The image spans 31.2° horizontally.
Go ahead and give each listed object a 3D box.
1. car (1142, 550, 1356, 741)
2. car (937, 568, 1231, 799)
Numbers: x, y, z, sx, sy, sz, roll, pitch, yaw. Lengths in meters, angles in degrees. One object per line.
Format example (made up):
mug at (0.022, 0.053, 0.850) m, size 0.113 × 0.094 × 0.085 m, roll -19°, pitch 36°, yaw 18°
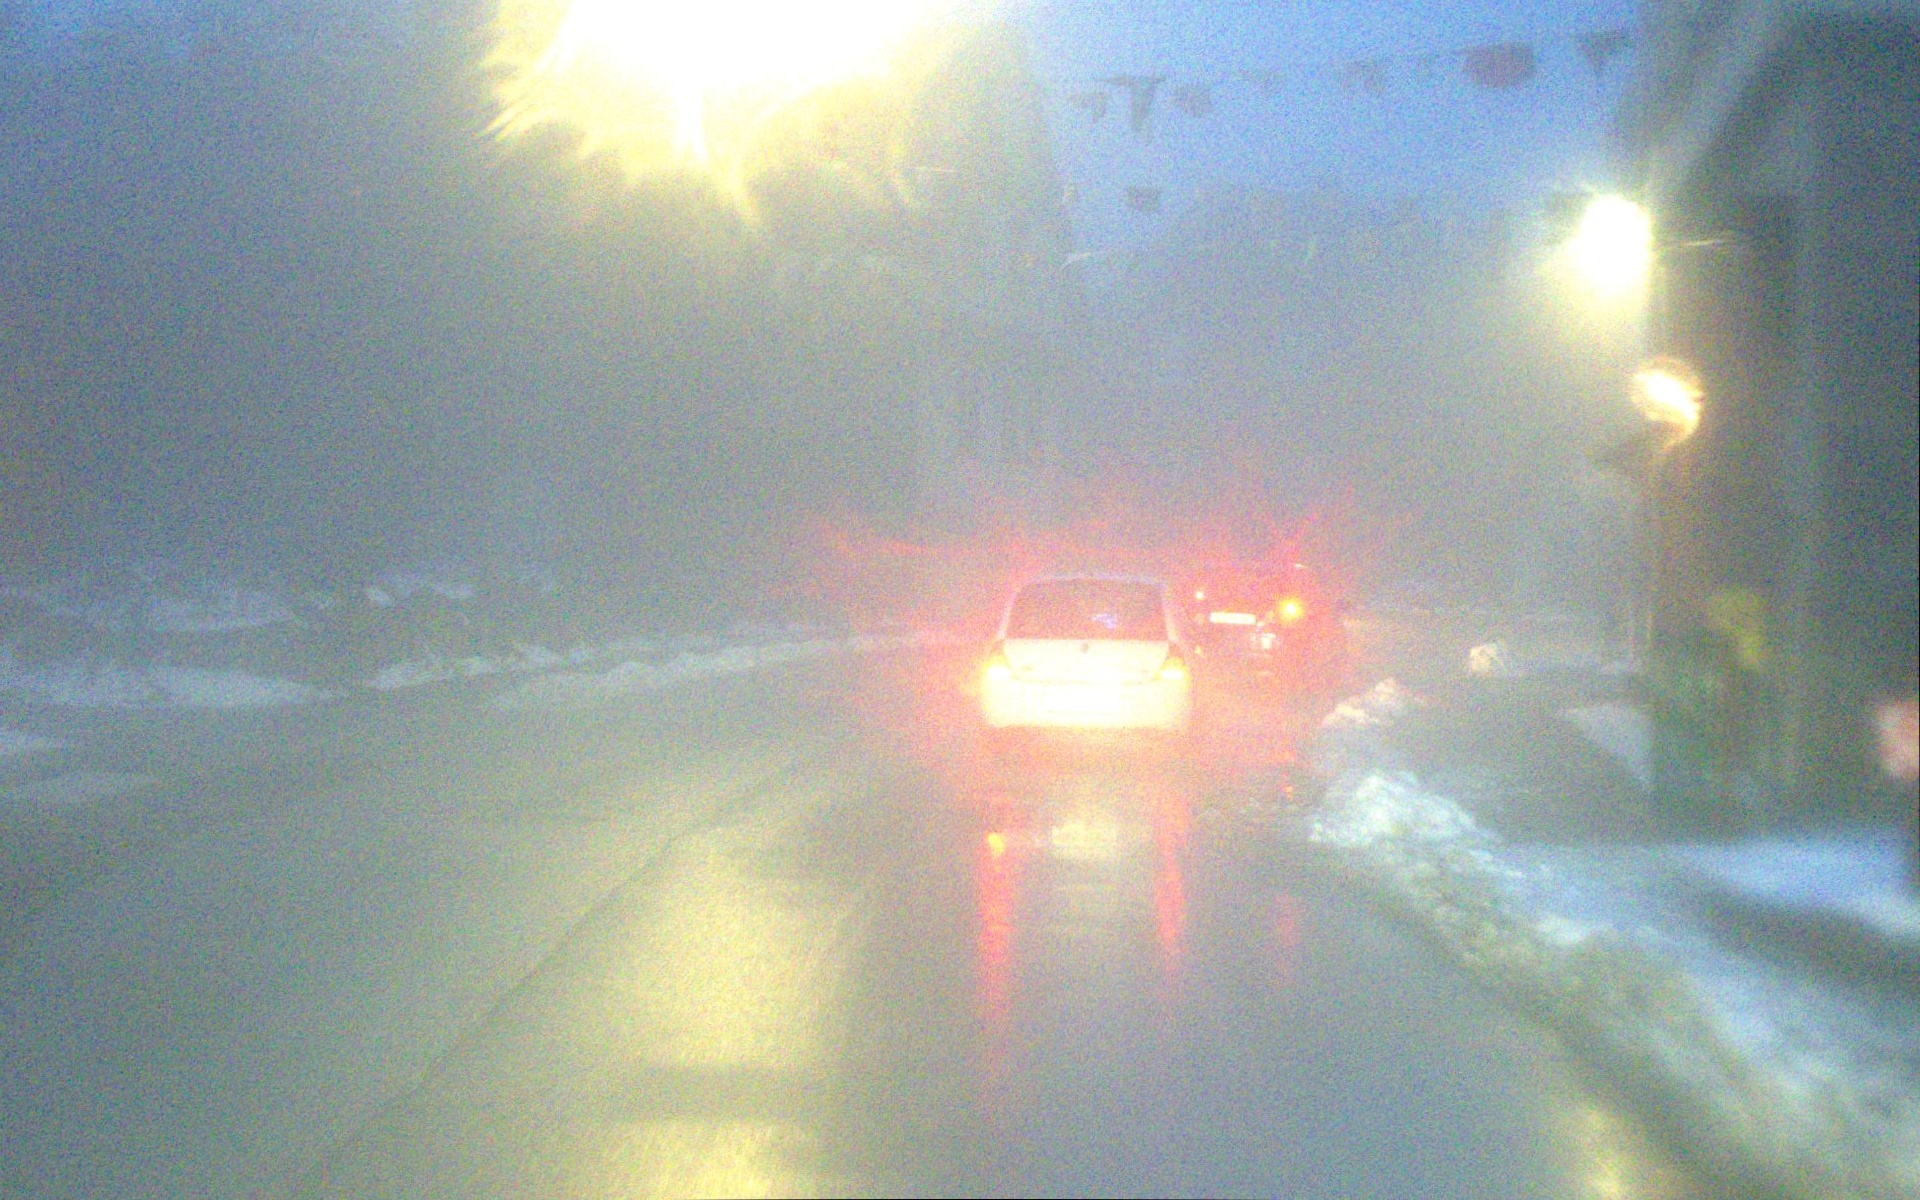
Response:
car at (3.450, 0.582, 40.355) m, size 1.994 × 2.007 × 3.998 m, roll 4°, pitch -2°, yaw 10°
car at (1.001, 0.658, 26.494) m, size 1.994 × 1.503 × 3.999 m, roll 4°, pitch -2°, yaw 4°
